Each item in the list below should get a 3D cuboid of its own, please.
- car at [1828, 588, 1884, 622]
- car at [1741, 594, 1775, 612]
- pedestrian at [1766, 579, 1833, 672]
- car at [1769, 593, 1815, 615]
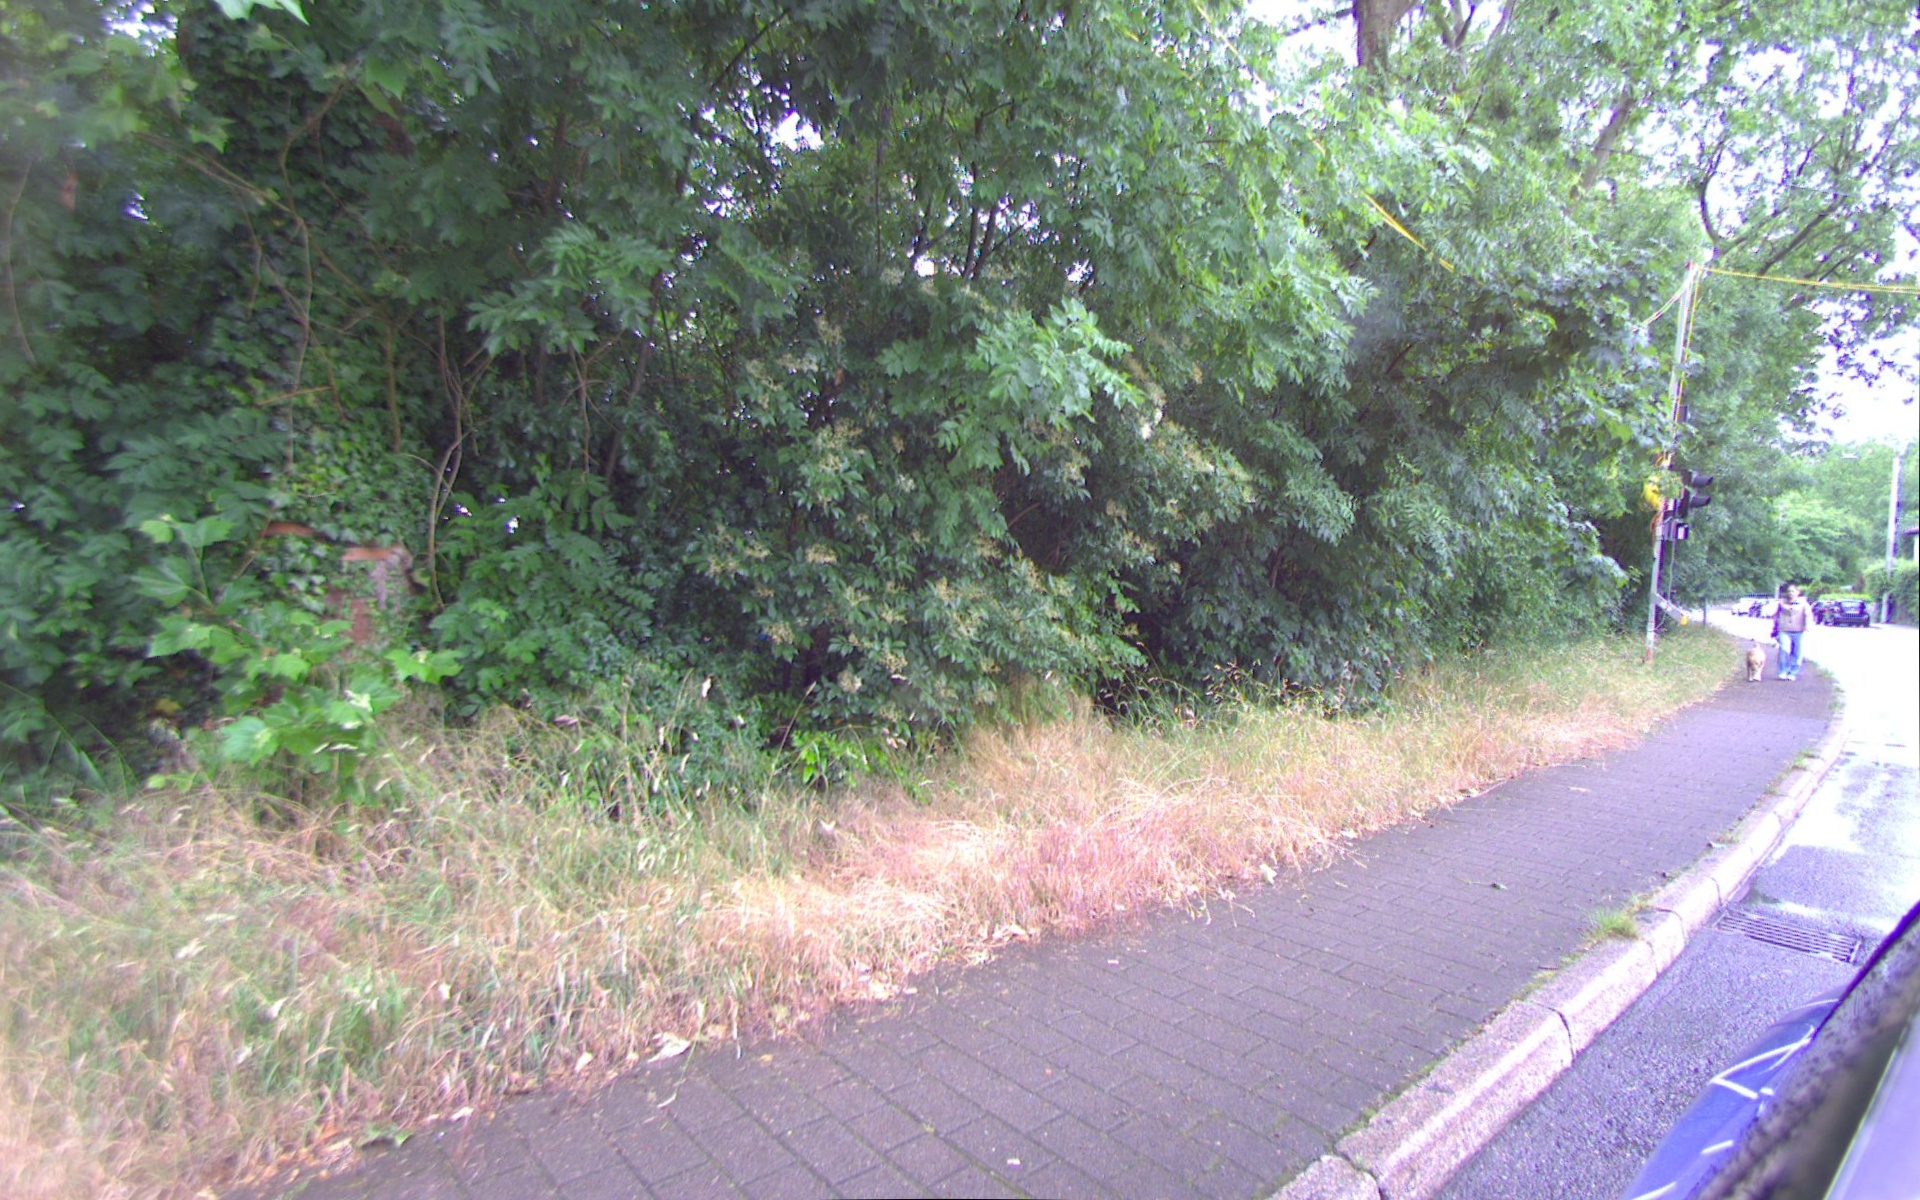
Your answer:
[{"bbox_3d":[51.047,0.275,57.711,1.869,1.848,4.075,1,1,35],"label":"car"},{"bbox_3d":[64.928,0.211,82.376,1.676,1.445,3.734,1,1,31],"label":"car"},{"bbox_3d":[14.134,0.409,17.038,0.771,1.518,0.734,0,1,-42],"label":"pedestrian"},{"bbox_3d":[60.735,0.290,73.923,2.055,1.504,4.509,1,1,33],"label":"car"}]
